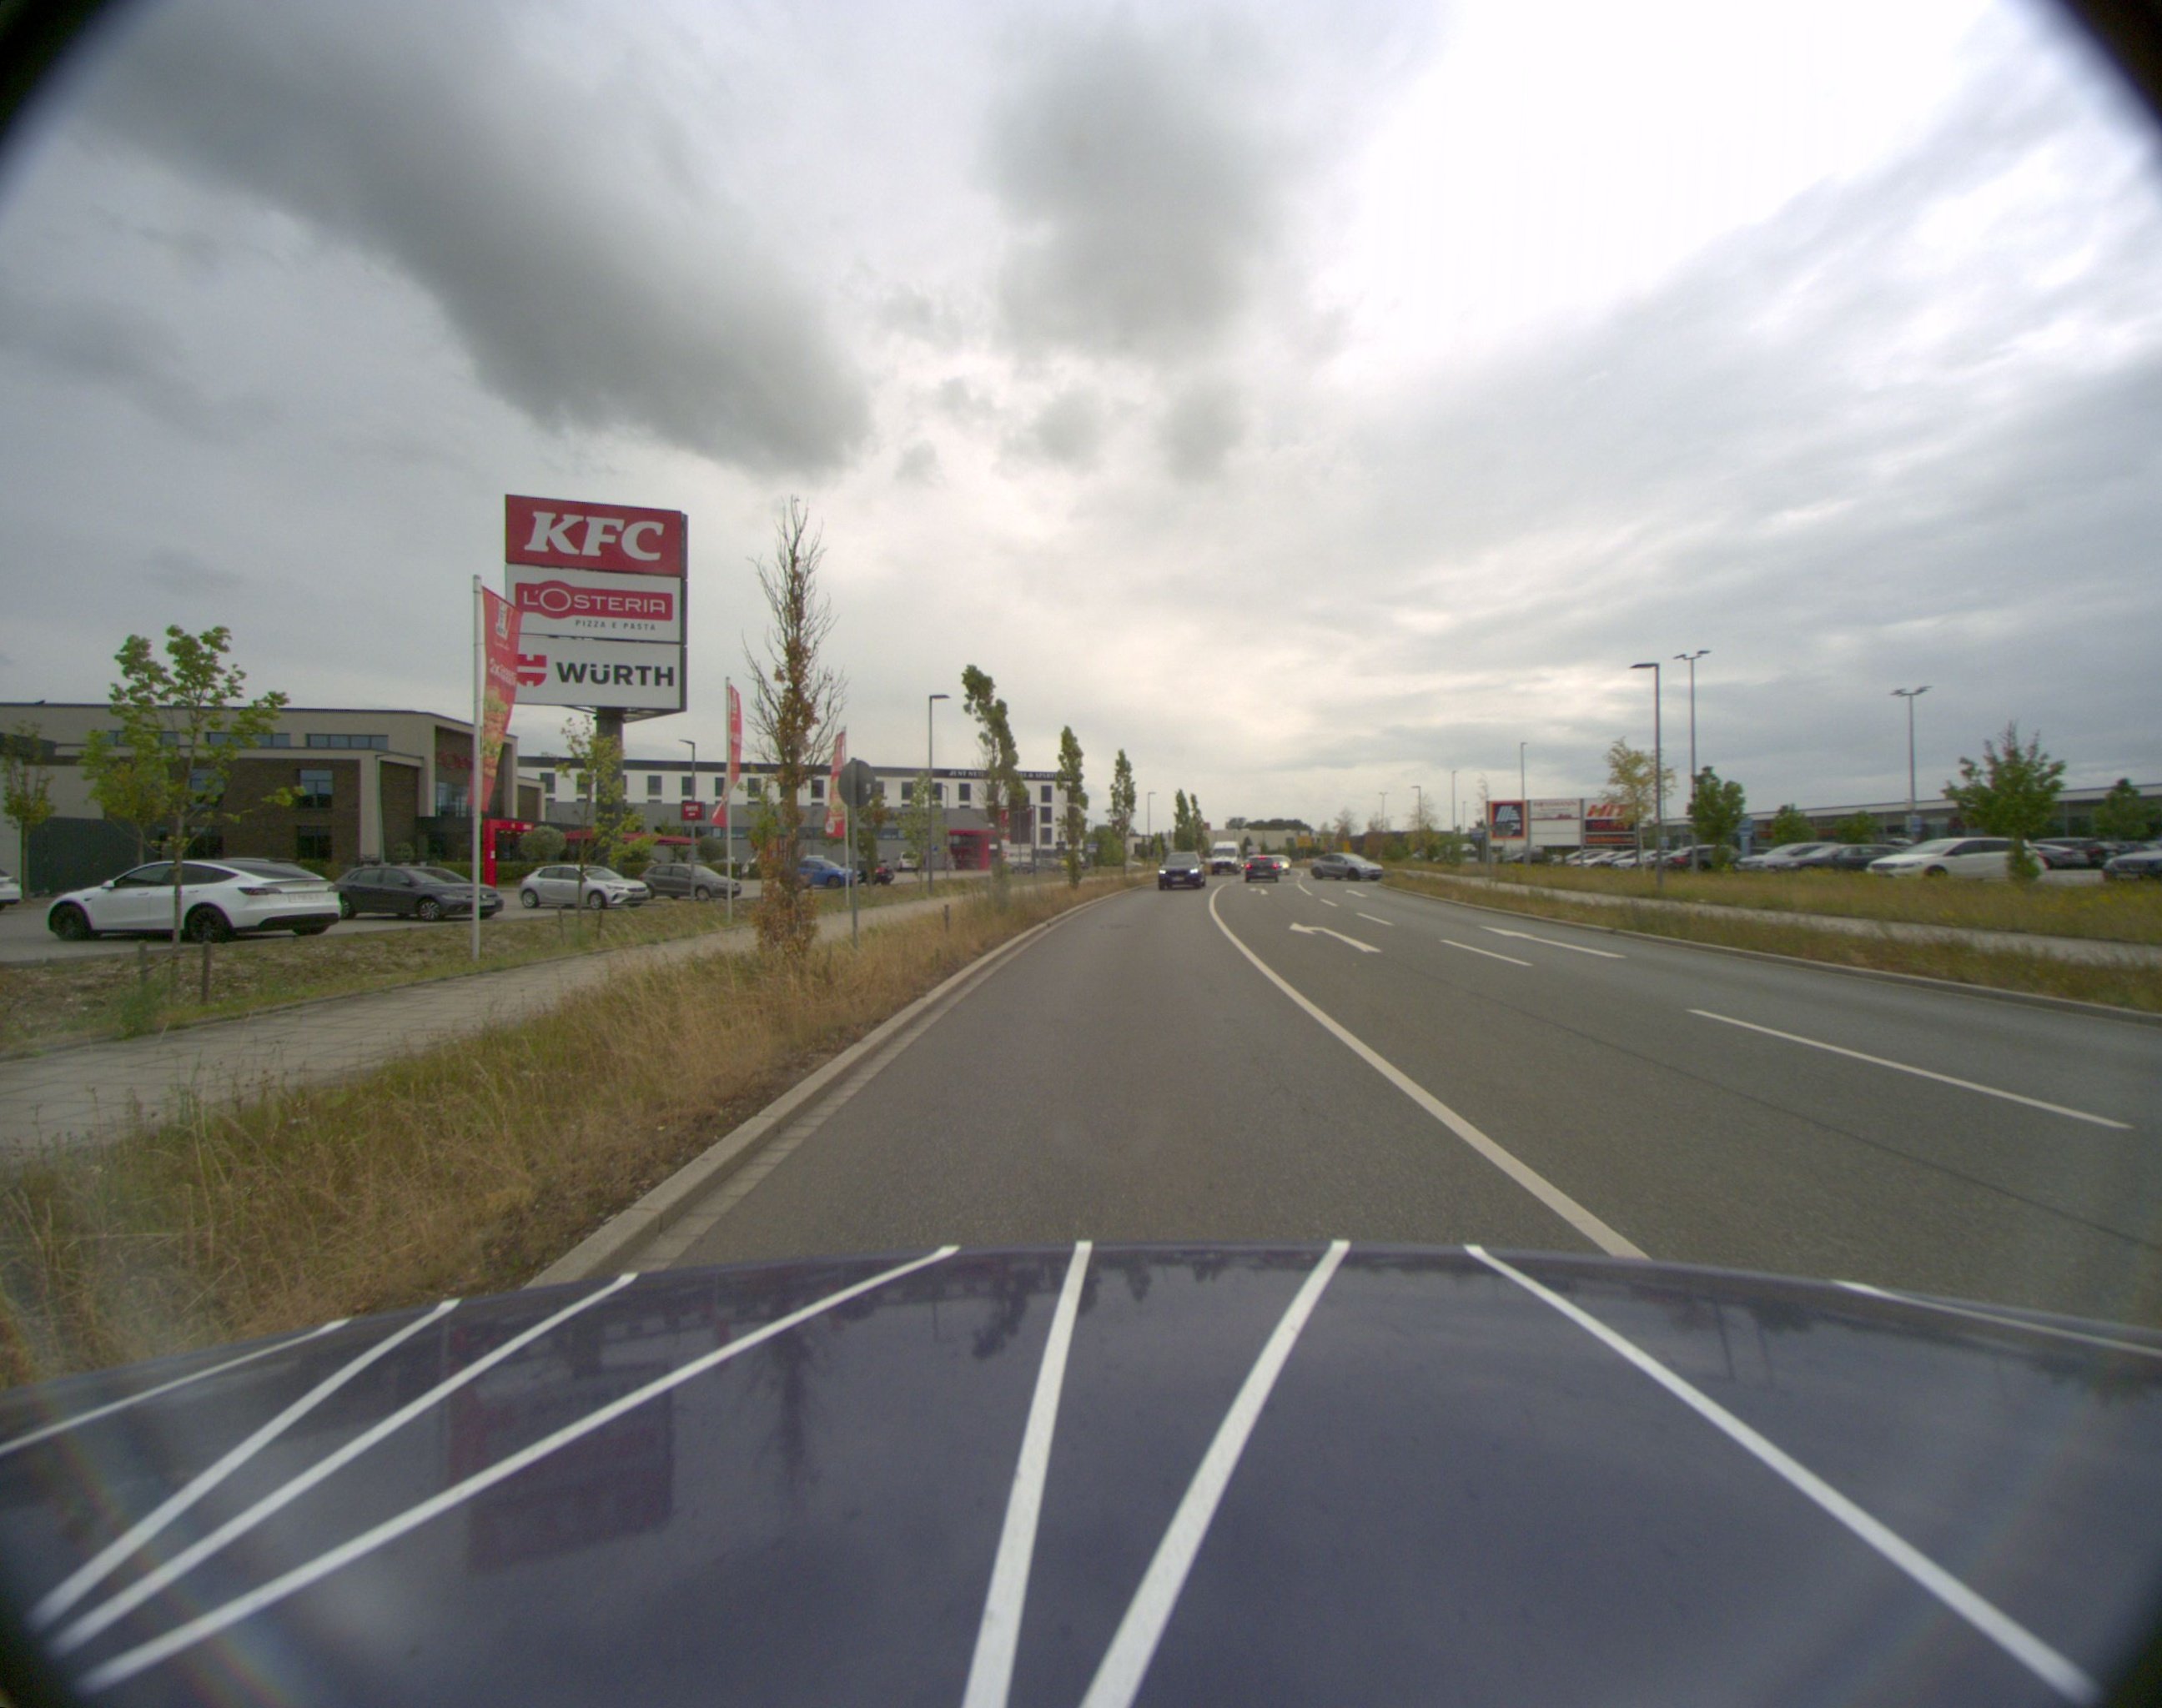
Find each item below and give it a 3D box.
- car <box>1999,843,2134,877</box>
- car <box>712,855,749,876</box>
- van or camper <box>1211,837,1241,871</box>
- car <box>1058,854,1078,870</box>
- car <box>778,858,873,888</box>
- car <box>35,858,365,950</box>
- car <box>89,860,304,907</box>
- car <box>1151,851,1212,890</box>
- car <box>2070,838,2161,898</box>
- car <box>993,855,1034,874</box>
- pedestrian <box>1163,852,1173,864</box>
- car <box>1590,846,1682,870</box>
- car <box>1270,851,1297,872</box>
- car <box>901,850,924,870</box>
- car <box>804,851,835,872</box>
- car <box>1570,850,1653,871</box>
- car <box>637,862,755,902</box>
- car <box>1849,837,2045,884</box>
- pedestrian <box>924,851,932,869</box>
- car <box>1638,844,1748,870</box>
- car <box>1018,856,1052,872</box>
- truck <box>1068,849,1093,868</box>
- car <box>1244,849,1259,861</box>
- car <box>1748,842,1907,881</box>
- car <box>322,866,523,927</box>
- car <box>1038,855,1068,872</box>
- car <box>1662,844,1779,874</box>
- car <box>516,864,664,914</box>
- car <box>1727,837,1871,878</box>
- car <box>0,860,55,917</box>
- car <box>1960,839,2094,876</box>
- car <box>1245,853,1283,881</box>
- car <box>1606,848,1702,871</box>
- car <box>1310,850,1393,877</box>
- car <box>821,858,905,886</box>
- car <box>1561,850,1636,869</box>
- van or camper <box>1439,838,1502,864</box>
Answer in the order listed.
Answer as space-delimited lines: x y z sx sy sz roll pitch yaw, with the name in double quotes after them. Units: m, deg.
52.113 0.295 40.298 1.911 1.677 3.998 0 0 -4 "car"
-28.867 0.925 62.745 1.986 1.619 4.322 -1 0 -14 "car"
11.573 0.012 60.516 2.262 2.601 5.702 0 0 12 "van or camper"
-1.345 0.832 81.273 1.766 1.676 4.413 0 0 3 "car"
-13.284 0.961 39.576 4.268 1.511 1.968 -1 0 14 "car"
-17.734 0.943 15.451 4.571 1.635 2.089 1 0 5 "car"
-29.508 0.970 25.503 4.575 1.510 1.976 0 0 -6 "car"
4.666 0.709 34.880 1.996 1.654 4.006 -2 0 19 "car"
28.181 0.323 18.846 4.239 1.426 1.999 0 0 9 "car"
-5.594 0.860 63.347 1.964 1.451 4.837 0 0 14 "car"
13.082 0.582 114.389 1.071 1.847 1.197 1 2 38 "pedestrian"
36.347 0.276 49.932 4.371 1.496 2.242 0 0 15 "car"
14.981 0.562 56.103 1.882 1.460 4.198 0 0 16 "car"
-17.185 0.596 77.312 2.001 1.975 4.629 -1 0 -17 "car"
-22.077 0.637 64.271 2.001 1.687 4.787 -1 0 -14 "car"
37.059 0.475 53.196 4.324 1.448 2.013 0 0 14 "car"
-15.134 1.072 29.950 3.764 1.485 1.891 -1 0 12 "car"
29.797 0.221 26.270 4.255 1.550 1.990 0 0 6 "car"
-15.713 0.644 77.973 0.615 1.857 0.800 -1 0 -20 "pedestrian"
34.653 0.188 43.191 4.363 1.383 2.168 -1 0 17 "car"
-4.118 0.900 68.811 1.866 1.428 4.885 0 0 12 "car"
-0.023 0.600 97.828 2.231 2.312 8.220 0 0 7 "truck"
24.755 0.177 110.191 1.996 1.627 4.708 1 0 15 "car"
30.766 0.311 31.482 4.248 1.504 2.048 -1 0 16 "car"
-17.718 1.104 20.538 3.994 1.476 1.941 0 1 9 "car"
-2.751 0.931 74.966 1.997 1.488 4.611 0 1 10 "car"
32.469 0.251 38.697 4.223 1.429 1.776 0 1 14 "car"
-16.259 1.120 25.263 3.868 1.473 1.904 1 0 10 "car"
31.954 0.171 33.940 4.249 1.713 2.030 -1 0 11 "car"
-31.543 0.923 20.501 4.575 1.510 2.080 0 0 -5 "car"
49.445 0.171 39.863 1.999 1.805 3.999 0 0 -2 "car"
9.859 0.661 40.938 1.832 1.412 4.250 -1 0 14 "car"
35.450 0.339 47.115 4.319 1.332 2.029 0 0 12 "car"
16.064 0.551 45.438 2.003 1.552 4.603 0 0 -25 "car"
-12.013 0.965 41.920 3.992 1.485 1.984 -1 0 17 "car"
37.789 0.410 55.571 4.089 1.383 2.003 0 0 17 "car"
43.652 -0.352 85.297 5.864 2.783 2.244 0 1 6 "van or camper"
